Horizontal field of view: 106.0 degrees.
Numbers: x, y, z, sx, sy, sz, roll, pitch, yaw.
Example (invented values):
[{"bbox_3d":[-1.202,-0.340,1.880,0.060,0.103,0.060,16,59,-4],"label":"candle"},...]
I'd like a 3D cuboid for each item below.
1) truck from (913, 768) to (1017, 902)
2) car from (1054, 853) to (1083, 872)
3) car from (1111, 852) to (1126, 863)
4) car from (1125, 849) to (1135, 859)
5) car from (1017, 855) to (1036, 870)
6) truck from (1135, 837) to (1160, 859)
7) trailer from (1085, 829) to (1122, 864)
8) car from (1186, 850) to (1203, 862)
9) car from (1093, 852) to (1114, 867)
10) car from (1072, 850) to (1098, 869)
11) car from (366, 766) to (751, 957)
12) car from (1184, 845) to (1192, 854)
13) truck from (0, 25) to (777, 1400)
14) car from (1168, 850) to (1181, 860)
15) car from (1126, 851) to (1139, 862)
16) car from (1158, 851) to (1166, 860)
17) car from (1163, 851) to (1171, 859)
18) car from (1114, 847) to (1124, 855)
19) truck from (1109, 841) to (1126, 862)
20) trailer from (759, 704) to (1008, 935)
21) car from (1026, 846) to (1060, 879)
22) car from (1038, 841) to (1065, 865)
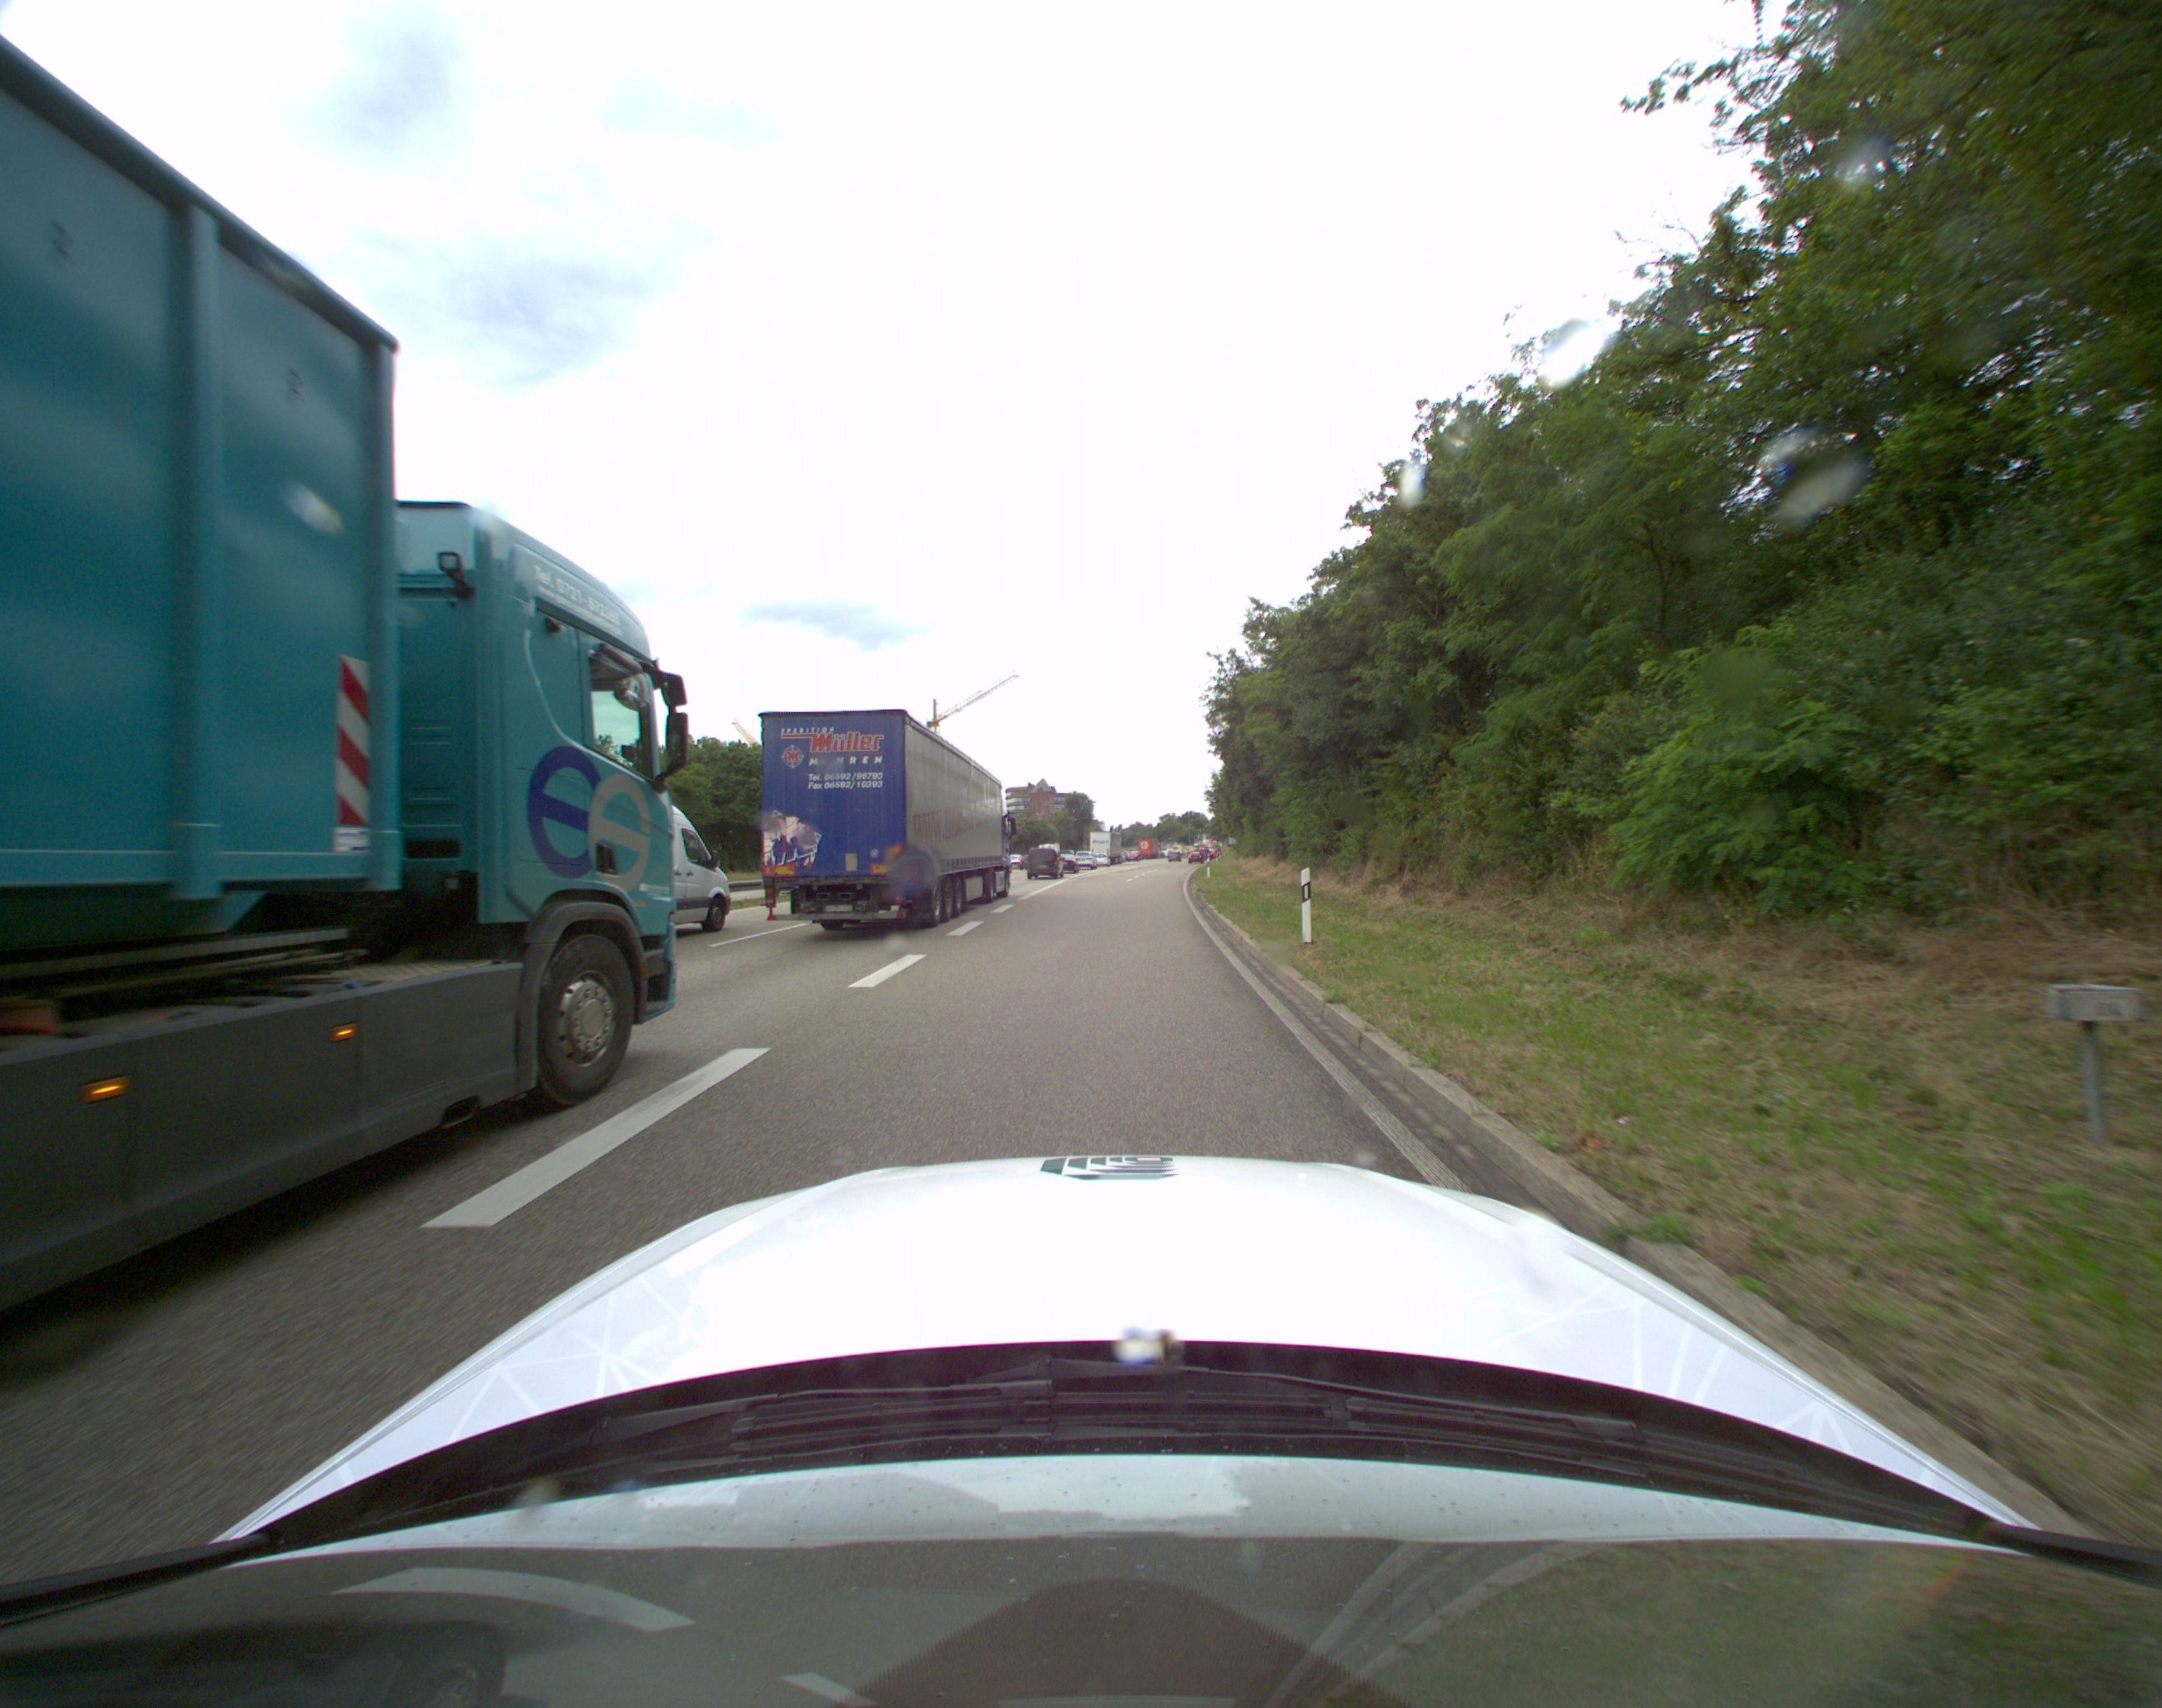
[{"bbox_3d":[-3.767,-0.555,28.021,2.552,4.042,6.589,0,-1,1],"label":"truck"},{"bbox_3d":[-0.910,0.657,63.460,1.839,1.460,4.836,0,0,4],"label":"car"},{"bbox_3d":[5.521,0.558,120.300,1.789,1.604,4.268,0,0,9],"label":"car"},{"bbox_3d":[9.847,0.042,163.223,1.807,2.013,4.009,-2,0,8],"label":"car"},{"bbox_3d":[-5.113,0.754,76.697,1.434,1.387,3.051,0,0,4],"label":"car"},{"bbox_3d":[13.478,-1.248,163.768,3.467,4.073,13.635,-2,0,11],"label":"truck"},{"bbox_3d":[2.880,-0.810,100.453,3.281,4.036,13.123,0,0,7],"label":"trailer"},{"bbox_3d":[14.628,0.224,104.993,1.813,1.482,4.013,-2,0,12],"label":"car"},{"bbox_3d":[2.465,0.575,88.136,1.754,1.478,4.098,-2,0,8],"label":"car"},{"bbox_3d":[0.428,0.499,76.630,1.946,1.695,4.874,0,0,6],"label":"car"},{"bbox_3d":[-8.428,0.121,14.388,2.213,2.578,6.800,0,0,2],"label":"car"},{"bbox_3d":[26.050,-1.042,197.707,1.940,2.013,4.009,-1,0,8],"label":"car"},{"bbox_3d":[-4.430,-0.379,2.242,2.920,3.796,11.327,-2,0,-1],"label":"truck"},{"bbox_3d":[14.130,0.097,122.710,1.815,1.482,4.008,-2,0,7],"label":"car"},{"bbox_3d":[8.314,0.365,130.320,1.707,1.684,4.010,0,0,9],"label":"car"},{"bbox_3d":[18.670,0.332,187.552,1.604,1.948,3.716,0,-1,11],"label":"car"},{"bbox_3d":[20.875,0.157,198.354,1.604,1.948,3.715,0,-1,10],"label":"car"},{"bbox_3d":[9.411,-0.780,200.174,1.981,2.013,4.012,-1,0,10],"label":"car"},{"bbox_3d":[7.393,-0.526,164.659,2.724,4.138,10.716,0,0,6],"label":"truck"},{"bbox_3d":[-4.045,-0.551,20.885,2.616,4.022,13.470,0,0,2],"label":"trailer"},{"bbox_3d":[-2.349,0.514,50.583,1.983,1.898,4.981,-1,0,-2],"label":"car"},{"bbox_3d":[-3.196,-0.136,88.857,1.982,2.553,5.374,-1,0,8],"label":"car"}]
